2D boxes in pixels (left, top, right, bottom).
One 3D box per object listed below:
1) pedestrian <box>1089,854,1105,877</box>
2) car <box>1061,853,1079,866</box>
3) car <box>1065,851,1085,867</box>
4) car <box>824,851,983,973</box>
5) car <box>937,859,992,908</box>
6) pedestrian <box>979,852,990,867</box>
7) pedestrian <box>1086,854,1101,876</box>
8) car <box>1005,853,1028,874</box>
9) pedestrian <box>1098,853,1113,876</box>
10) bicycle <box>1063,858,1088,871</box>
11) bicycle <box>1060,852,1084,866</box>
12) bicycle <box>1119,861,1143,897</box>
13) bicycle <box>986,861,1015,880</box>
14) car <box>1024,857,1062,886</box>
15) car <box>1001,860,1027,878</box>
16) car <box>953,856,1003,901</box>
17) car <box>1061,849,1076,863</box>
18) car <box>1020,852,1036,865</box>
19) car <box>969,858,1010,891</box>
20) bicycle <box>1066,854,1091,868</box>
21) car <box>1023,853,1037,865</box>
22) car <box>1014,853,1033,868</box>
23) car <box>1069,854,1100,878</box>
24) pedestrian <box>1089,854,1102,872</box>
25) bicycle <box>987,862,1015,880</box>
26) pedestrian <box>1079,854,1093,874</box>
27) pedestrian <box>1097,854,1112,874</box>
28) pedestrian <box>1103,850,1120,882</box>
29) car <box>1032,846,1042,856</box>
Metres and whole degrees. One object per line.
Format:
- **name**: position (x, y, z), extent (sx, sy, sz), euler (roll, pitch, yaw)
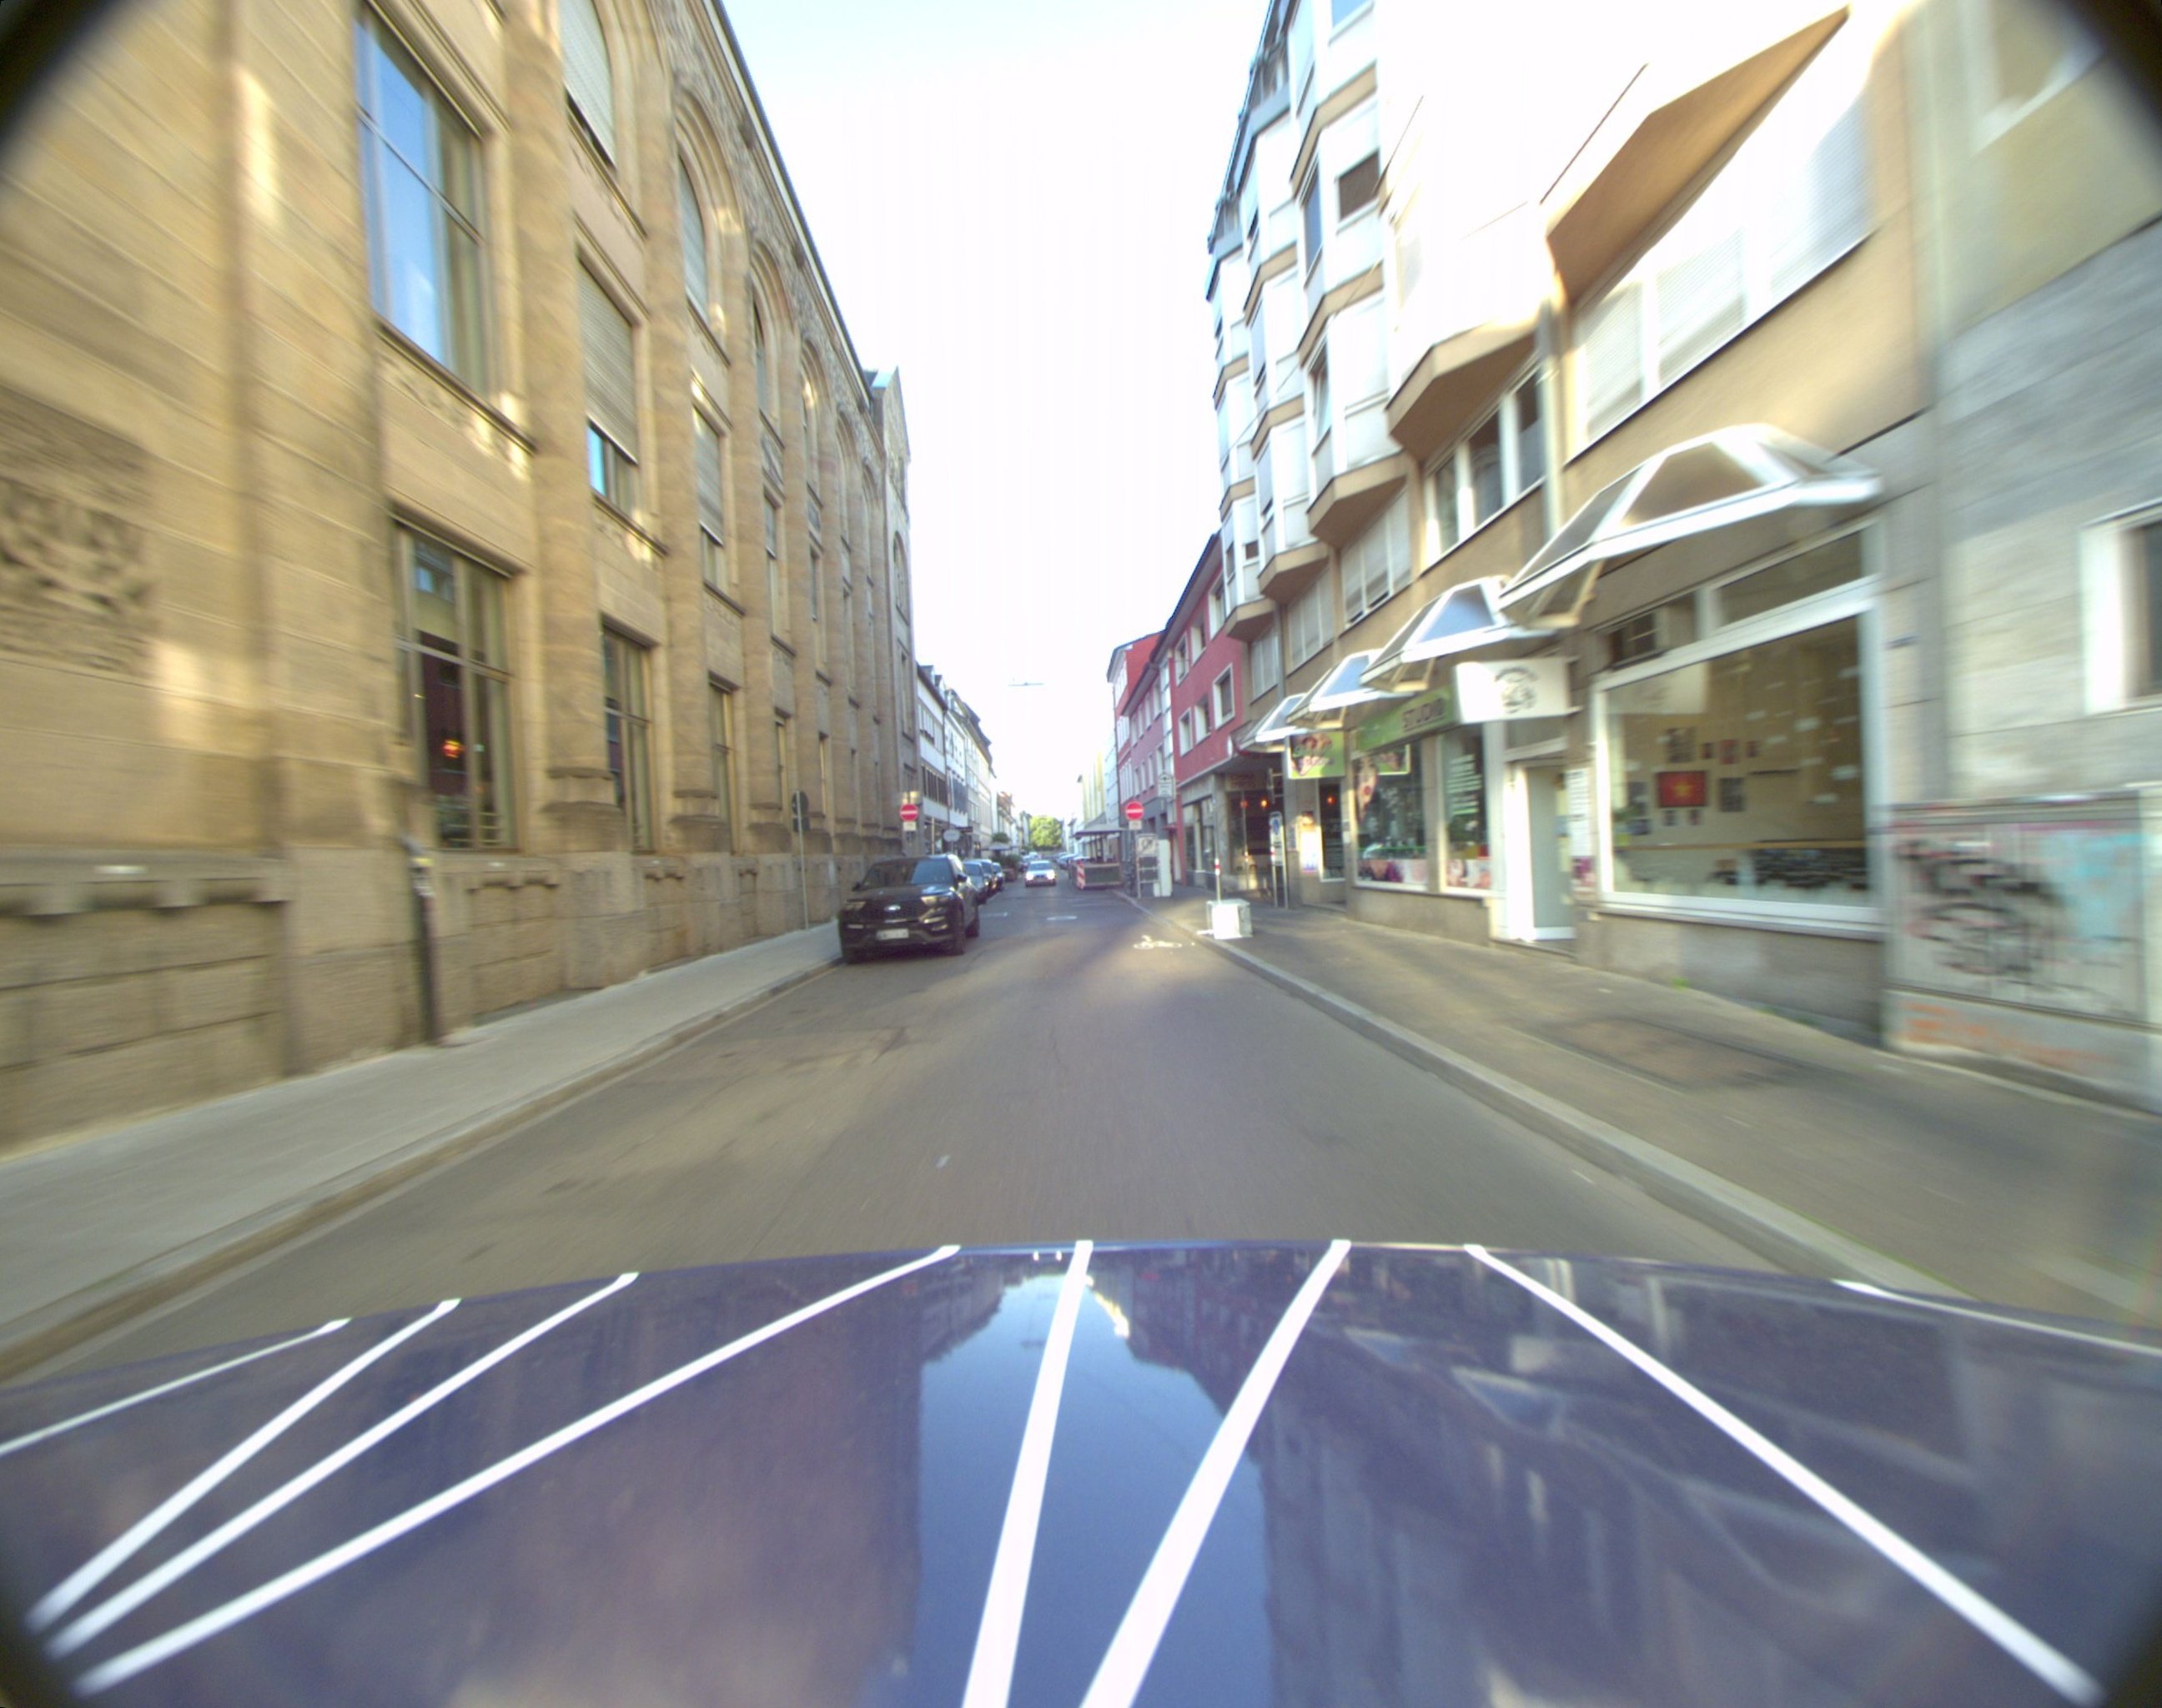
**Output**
- **pedestrian**: position (0.791, 0.572, 36.658), extent (0.612, 1.057, 0.547), euler (-4, 1, -10)
- **car**: position (-1.319, 0.627, 91.034), extent (1.999, 1.462, 4.457), euler (-3, 0, -2)
- **car**: position (-0.727, 0.516, 85.871), extent (1.999, 1.667, 4.457), euler (-3, 0, -2)
- **car**: position (-3.069, 0.895, 14.247), extent (1.999, 1.773, 4.932), euler (-3, 0, -4)
- **car**: position (-4.461, 1.094, 29.533), extent (1.778, 1.656, 3.998), euler (-3, 1, -5)
- **pedestrian**: position (-7.933, 0.446, 62.664), extent (0.736, 1.236, 0.646), euler (-4, 1, -1)
- **pedestrian**: position (0.641, 0.573, 39.812), extent (0.612, 1.057, 0.547), euler (-4, 1, -10)
- **car**: position (-6.378, 0.911, 75.172), extent (1.999, 1.835, 3.999), euler (-3, 0, -2)
- **pedestrian**: position (1.205, 0.515, 37.365), extent (0.612, 1.057, 0.547), euler (-4, 1, -10)
- **bicycle**: position (-0.590, 1.071, 79.429), extent (2.481, 1.172, 0.784), euler (-4, 1, 3)
- **bicycle**: position (-0.922, 0.573, 82.273), extent (2.481, 1.322, 0.784), euler (-4, 1, 3)
- **bicycle**: position (1.747, 0.863, 26.784), extent (0.545, 1.185, 1.841), euler (-3, 0, -3)
- **bicycle**: position (-5.475, 1.111, 51.758), extent (1.874, 1.295, 0.596), euler (1, 1, -2)
- **car**: position (-2.182, 0.960, 43.945), extent (1.999, 1.414, 4.457), euler (-3, 0, -2)
- **car**: position (-5.686, 1.242, 64.700), extent (1.940, 1.288, 3.999), euler (-3, 0, -2)
- **car**: position (-4.671, 1.062, 35.011), extent (1.675, 1.796, 4.238), euler (-4, 0, -1)
- **car**: position (-1.853, 0.297, 114.014), extent (1.999, 2.030, 4.457), euler (-3, 0, -2)
- **car**: position (-7.370, 0.627, 105.521), extent (1.999, 1.667, 4.457), euler (-3, 0, -2)
- **car**: position (-4.812, 1.028, 40.371), extent (1.694, 1.507, 4.989), euler (-3, 0, -2)
- **bicycle**: position (-0.251, 0.687, 76.334), extent (2.481, 1.172, 0.784), euler (-4, 1, 3)
- **car**: position (-7.798, 0.773, 116.489), extent (1.999, 1.667, 4.457), euler (-3, 0, -2)
- **car**: position (-6.819, 0.738, 90.556), extent (1.999, 1.667, 4.457), euler (-3, 0, -2)
- **car**: position (0.195, 0.781, 51.099), extent (1.722, 1.452, 4.133), euler (-3, 0, -4)
- **pedestrian**: position (0.837, 0.514, 44.164), extent (0.559, 1.031, 0.492), euler (-4, 1, -10)
- **bicycle**: position (-5.502, 1.151, 52.441), extent (1.874, 1.221, 0.596), euler (1, 1, -2)
- **pedestrian**: position (0.292, 0.579, 42.901), extent (0.634, 1.061, 0.560), euler (-4, 1, -10)
- **pedestrian**: position (1.247, 0.524, 40.457), extent (0.603, 1.057, 0.547), euler (-4, 1, -10)
- **pedestrian**: position (1.473, 0.573, 36.563), extent (0.612, 1.464, 0.547), euler (-4, 2, -10)
- **car**: position (-9.665, -0.679, 166.782), extent (1.999, 1.884, 4.457), euler (-3, 0, -2)
